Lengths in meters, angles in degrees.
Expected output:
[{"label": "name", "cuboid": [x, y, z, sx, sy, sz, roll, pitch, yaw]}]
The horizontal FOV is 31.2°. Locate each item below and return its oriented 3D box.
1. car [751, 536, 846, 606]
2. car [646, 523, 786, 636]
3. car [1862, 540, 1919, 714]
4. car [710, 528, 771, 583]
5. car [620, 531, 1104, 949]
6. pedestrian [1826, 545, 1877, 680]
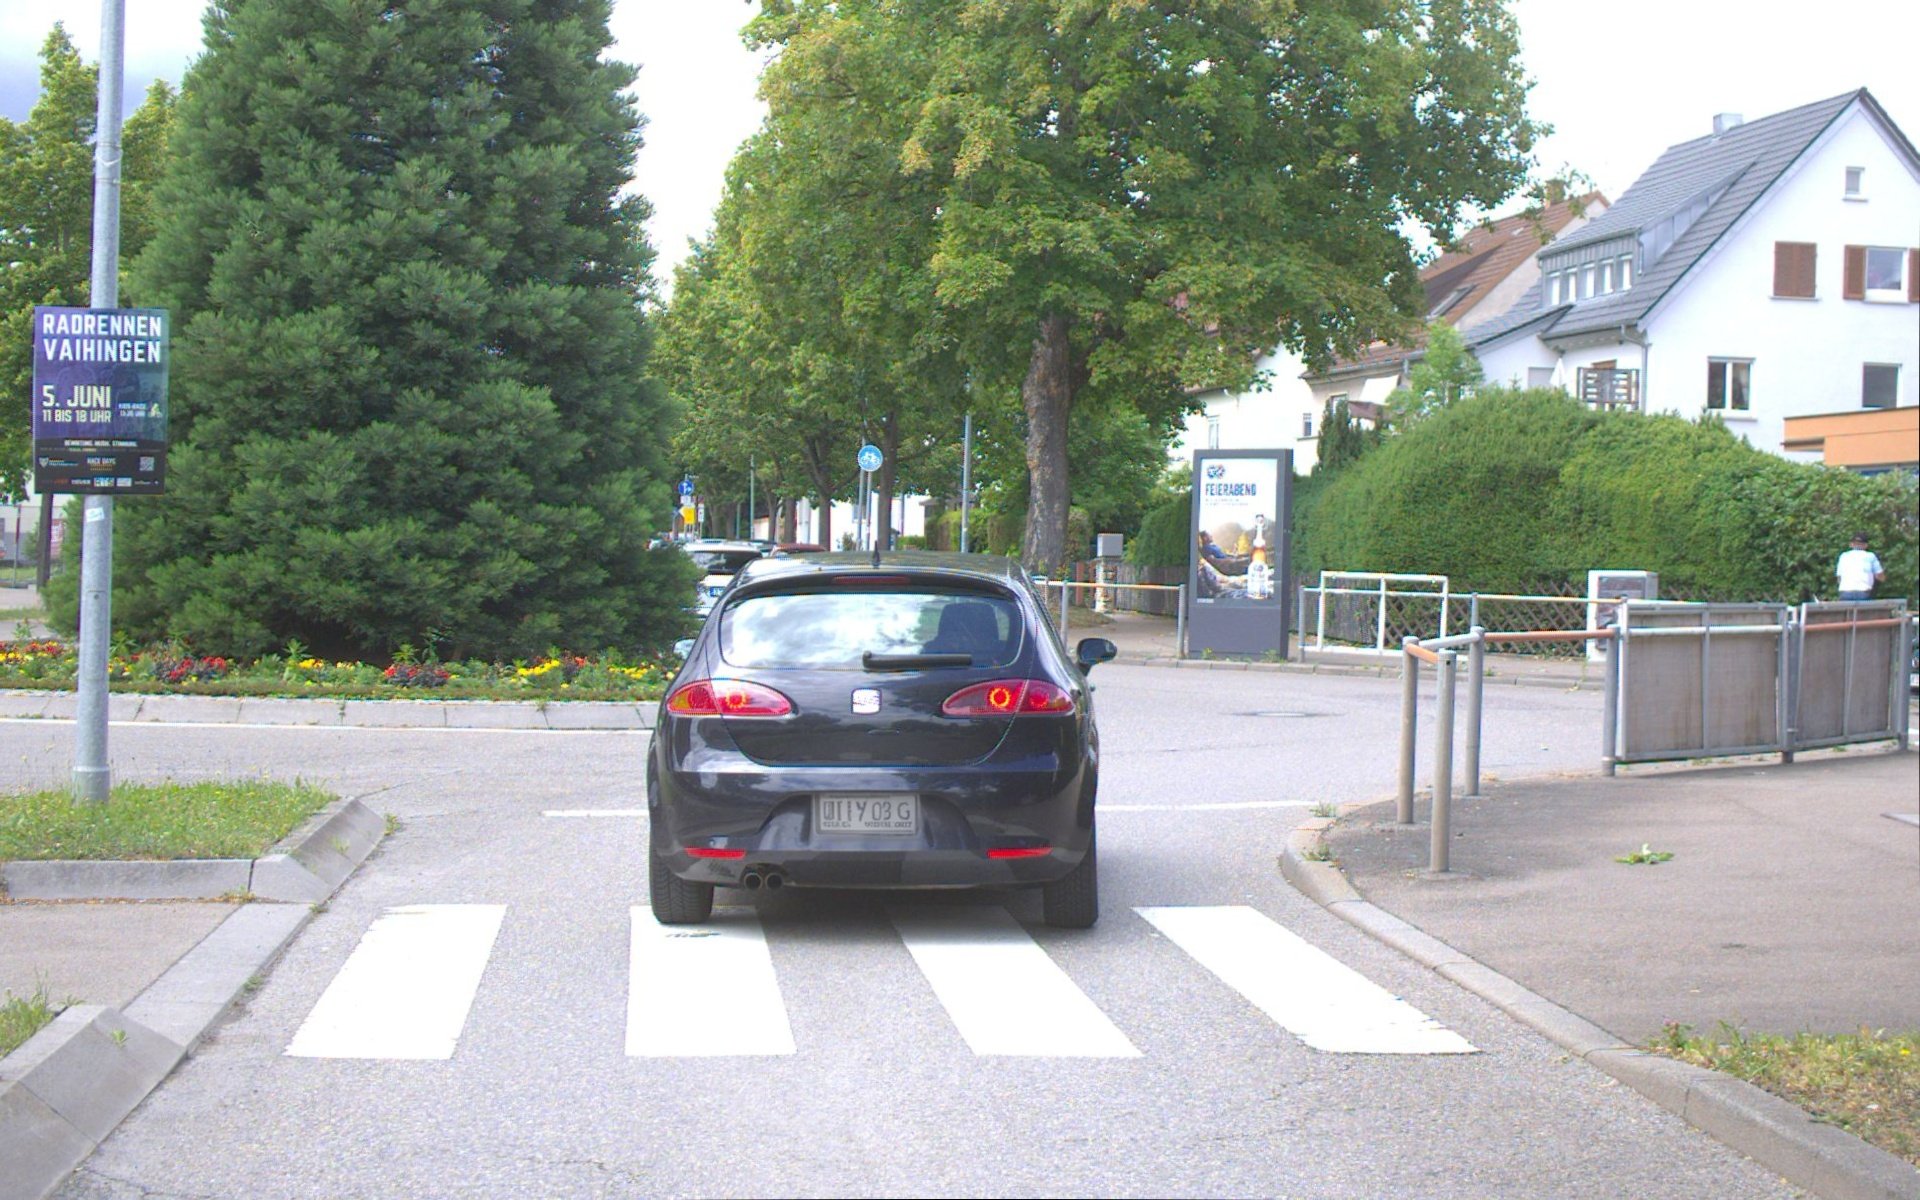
[{"label": "car", "cuboid": [-3.599, -0.654, 76.253, 1.474, 1.484, 3.383, 1, 1, -13]}, {"label": "car", "cuboid": [-3.745, -0.341, 52.488, 1.993, 1.607, 4.001, 2, 1, -5]}, {"label": "car", "cuboid": [11.289, 0.324, 33.644, 4.397, 1.655, 1.650, 2, 1, -3]}, {"label": "car", "cuboid": [-6.244, -1.266, 97.607, 1.594, 1.505, 3.601, 1, 1, -5]}, {"label": "car", "cuboid": [-0.280, 0.472, 14.447, 1.732, 1.481, 4.000, 1, 1, 2]}, {"label": "pedestrian", "cuboid": [10.258, 0.135, 39.540, 0.491, 1.528, 0.484, 2, 1, 19]}]
